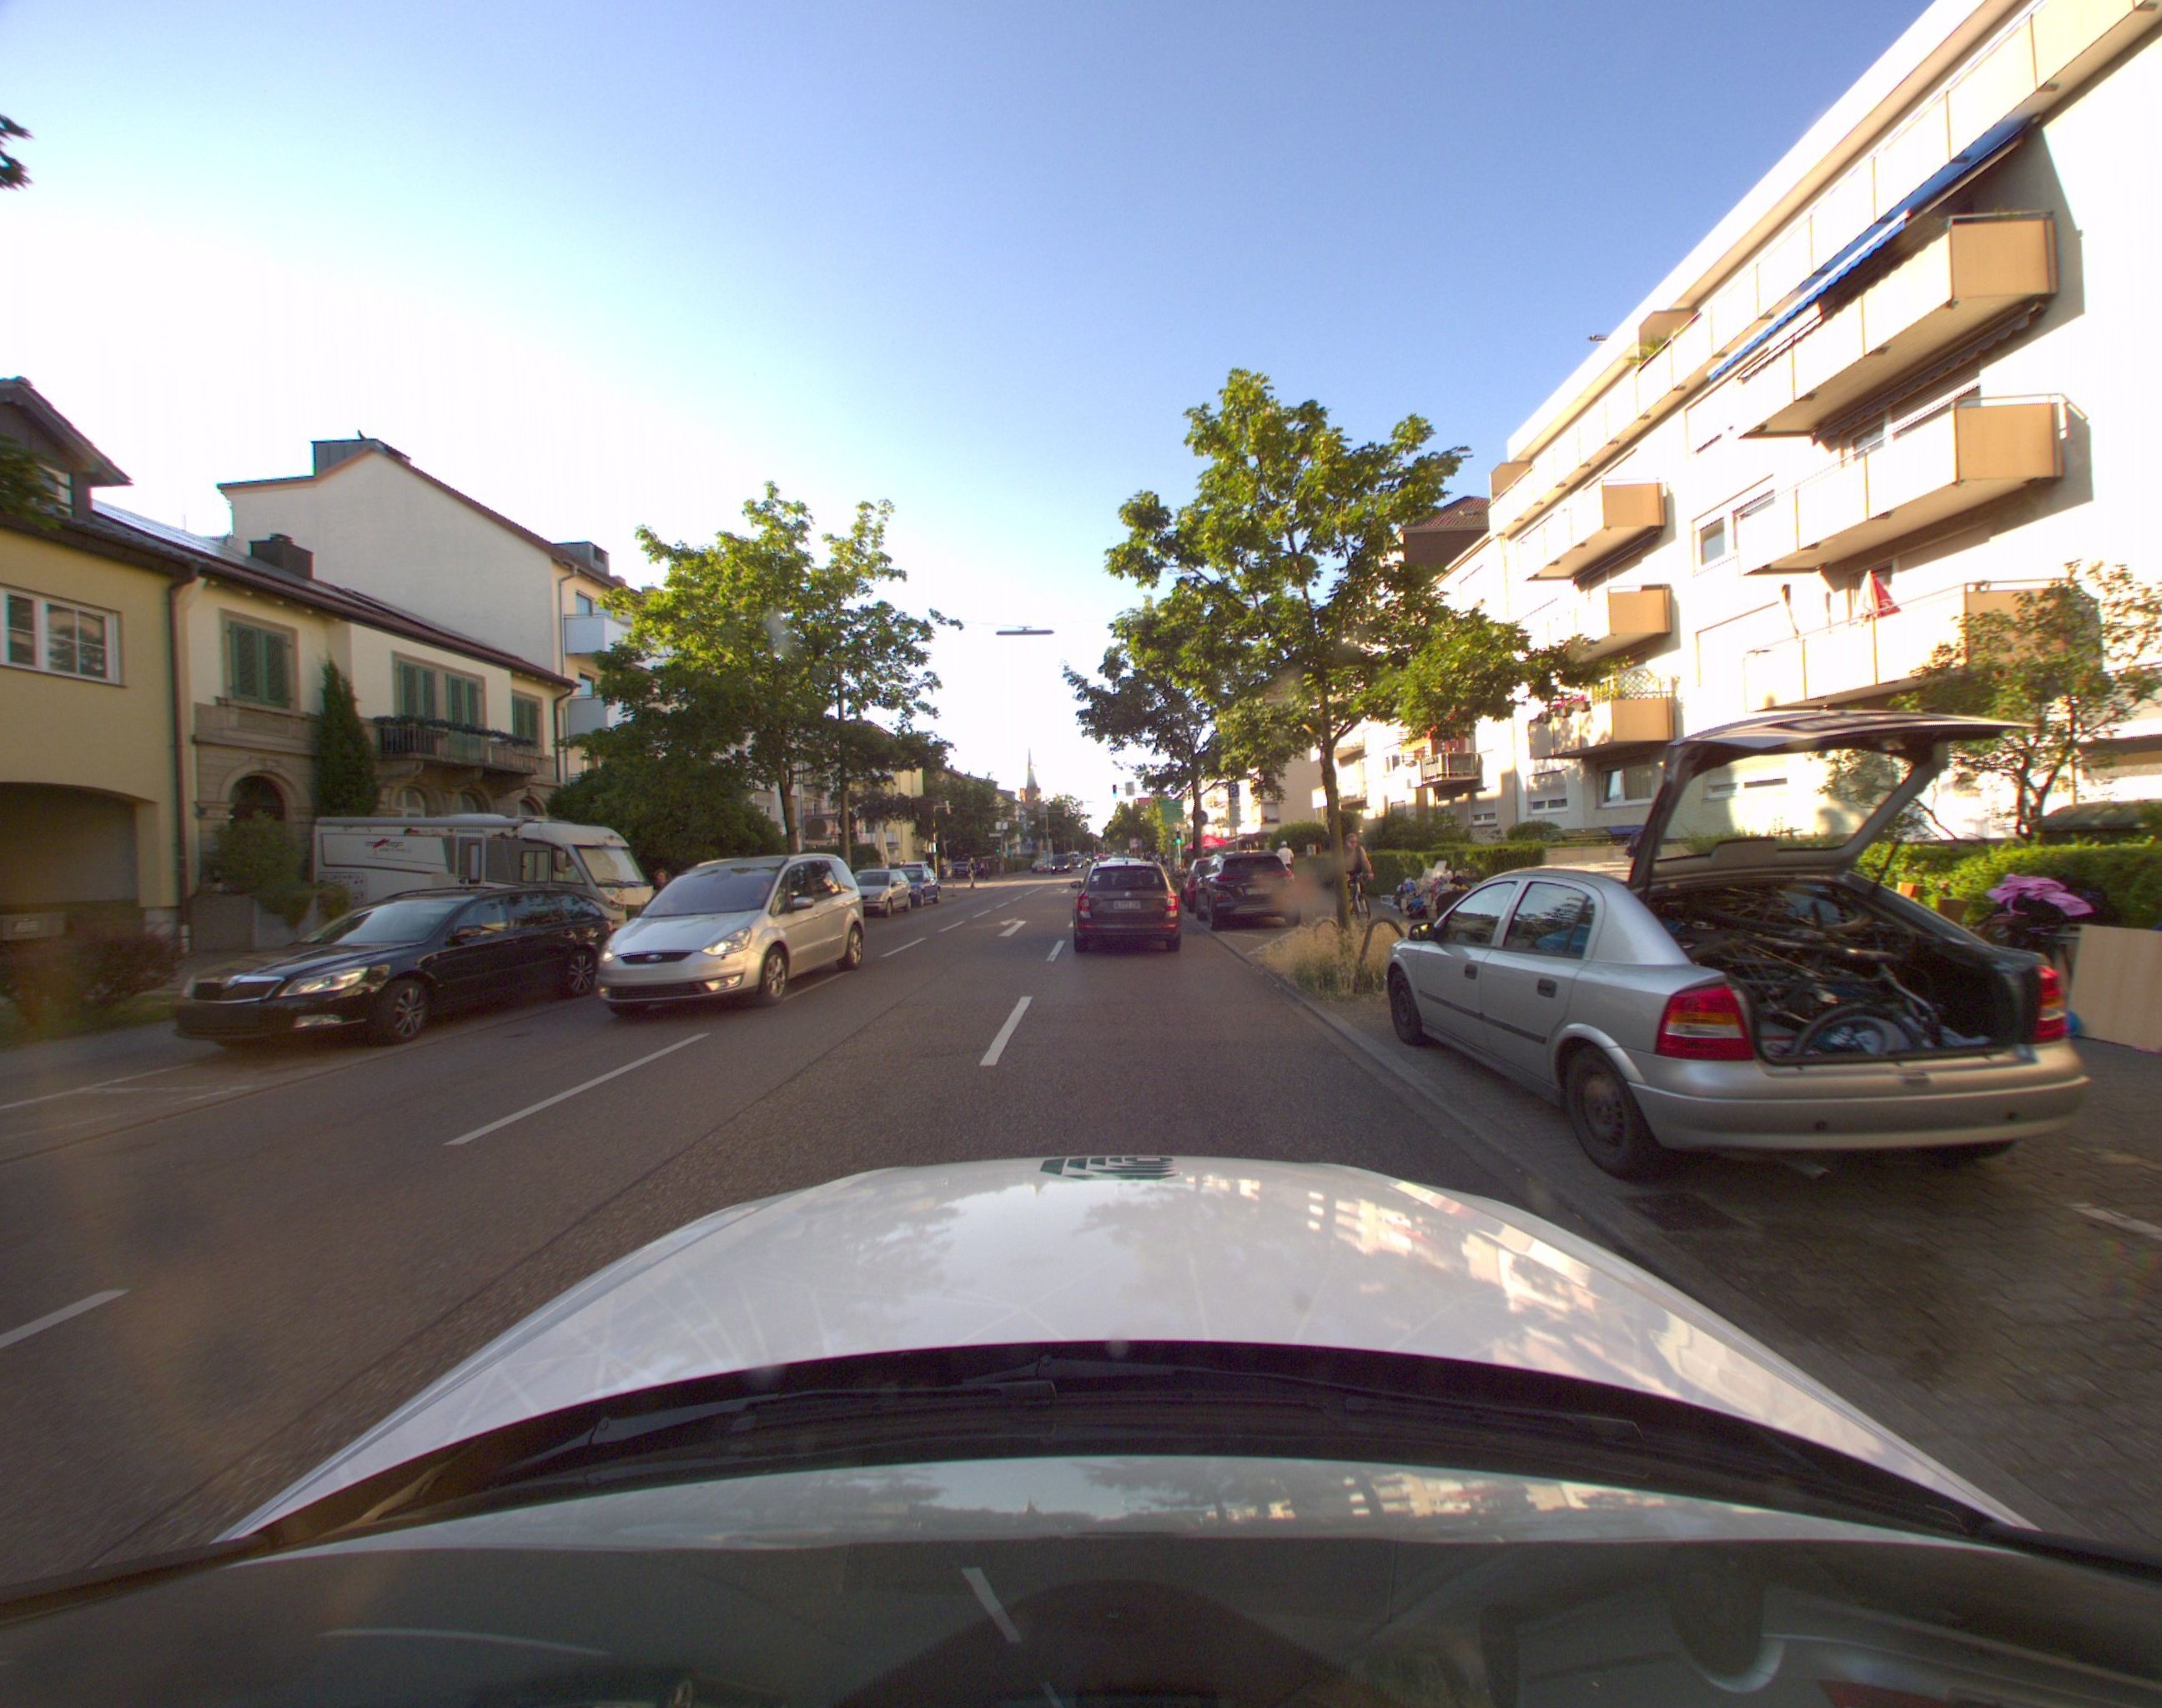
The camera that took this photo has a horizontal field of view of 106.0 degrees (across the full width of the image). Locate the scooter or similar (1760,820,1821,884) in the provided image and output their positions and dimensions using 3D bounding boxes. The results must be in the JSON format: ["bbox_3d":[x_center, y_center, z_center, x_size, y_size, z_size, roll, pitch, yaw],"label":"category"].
[{"bbox_3d":[14.606,-0.035,16.777,0.612,1.272,0.669,-3,0,2],"label":"scooter or similar"}]

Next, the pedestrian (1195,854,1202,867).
[{"bbox_3d":[11.261,0.628,78.157,0.497,1.302,0.507,-2,-1,-1],"label":"pedestrian"}]

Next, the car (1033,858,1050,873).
[{"bbox_3d":[-4.287,1.254,88.576,1.517,1.457,3.586,-2,0,2],"label":"car"}]

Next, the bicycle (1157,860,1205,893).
[{"bbox_3d":[4.034,0.911,32.762,1.824,1.157,0.685,-5,-1,8],"label":"bicycle"}]

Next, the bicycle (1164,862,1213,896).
[{"bbox_3d":[3.932,0.902,29.803,1.677,1.107,0.518,-5,-1,8],"label":"bicycle"}]

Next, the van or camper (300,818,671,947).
[{"bbox_3d":[-13.448,0.612,18.763,6.774,2.773,2.352,0,0,0],"label":"van or camper"}]

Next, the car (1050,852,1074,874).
[{"bbox_3d":[-1.870,0.866,80.227,1.986,1.908,4.965,-4,0,2],"label":"car"}]

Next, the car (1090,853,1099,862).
[{"bbox_3d":[3.343,0.921,204.698,1.986,2.013,4.002,-3,0,2],"label":"car"}]

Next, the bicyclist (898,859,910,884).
[{"bbox_3d":[-12.940,1.270,59.492,0.738,1.823,0.652,-2,0,-7],"label":"bicyclist"}]

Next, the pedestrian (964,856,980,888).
[{"bbox_3d":[-6.939,1.123,51.824,0.777,1.987,0.821,-3,-1,2],"label":"pedestrian"}]

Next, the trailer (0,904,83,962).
[{"bbox_3d":[-20.761,1.471,15.152,2.395,0.960,1.628,0,0,2],"label":"trailer"}]

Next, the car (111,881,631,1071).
[{"bbox_3d":[-7.414,1.133,9.320,1.860,1.494,4.519,-1,0,2],"label":"car"}]

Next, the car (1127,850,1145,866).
[{"bbox_3d":[6.267,0.492,92.581,1.984,1.772,4.005,0,0,5],"label":"car"}]

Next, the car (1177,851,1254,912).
[{"bbox_3d":[3.695,0.712,23.002,1.696,1.450,4.018,-4,0,4],"label":"car"}]

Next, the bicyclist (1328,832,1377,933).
[{"bbox_3d":[4.977,0.512,14.969,0.579,1.789,0.852,-2,0,2],"label":"bicyclist"}]

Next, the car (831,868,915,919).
[{"bbox_3d":[-6.618,1.217,26.305,1.587,1.470,3.805,0,0,2],"label":"car"}]

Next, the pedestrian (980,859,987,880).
[{"bbox_3d":[-8.371,1.338,69.937,0.447,1.797,0.504,-3,-1,2],"label":"pedestrian"}]

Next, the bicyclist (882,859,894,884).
[{"bbox_3d":[-14.246,1.283,60.125,0.738,1.823,0.652,-2,0,-7],"label":"bicyclist"}]

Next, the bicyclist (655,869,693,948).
[{"bbox_3d":[-8.785,1.165,17.576,0.467,1.663,0.552,-2,0,1],"label":"bicyclist"}]

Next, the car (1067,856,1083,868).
[{"bbox_3d":[-0.802,1.076,109.468,1.823,1.579,4.002,-3,0,2],"label":"car"}]

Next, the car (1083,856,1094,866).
[{"bbox_3d":[1.251,1.196,139.184,1.780,1.571,4.003,0,0,3],"label":"car"}]

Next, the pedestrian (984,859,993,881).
[{"bbox_3d":[-7.872,1.368,69.616,0.613,1.797,0.504,-3,-1,2],"label":"pedestrian"}]

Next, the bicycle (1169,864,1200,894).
[{"bbox_3d":[3.964,0.943,31.044,0.613,1.051,1.583,-3,0,28],"label":"bicycle"}]

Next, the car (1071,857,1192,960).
[{"bbox_3d":[0.805,0.810,14.193,1.766,1.489,4.312,-1,0,1],"label":"car"}]

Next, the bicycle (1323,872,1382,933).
[{"bbox_3d":[4.954,0.864,14.957,0.514,0.987,1.832,-2,0,2],"label":"bicycle"}]

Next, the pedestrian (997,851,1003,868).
[{"bbox_3d":[-7.047,0.467,70.915,0.299,1.504,0.641,-2,-1,3],"label":"pedestrian"}]

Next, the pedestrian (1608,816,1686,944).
[{"bbox_3d":[7.586,0.336,10.915,0.748,1.640,0.700,-3,-1,38],"label":"pedestrian"}]

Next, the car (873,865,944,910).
[{"bbox_3d":[-6.448,1.206,30.836,1.642,1.517,4.076,-1,0,2],"label":"car"}]

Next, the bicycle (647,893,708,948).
[{"bbox_3d":[-8.762,1.414,17.732,0.484,1.064,1.534,-2,0,1],"label":"bicycle"}]

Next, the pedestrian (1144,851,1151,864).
[{"bbox_3d":[9.383,0.493,114.361,0.668,1.704,0.806,-3,-1,28],"label":"pedestrian"}]

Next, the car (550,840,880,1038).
[{"bbox_3d":[-4.165,0.837,10.318,1.799,1.804,4.747,-4,0,2],"label":"car"}]

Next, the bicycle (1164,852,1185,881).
[{"bbox_3d":[4.004,0.541,34.993,0.501,1.147,1.956,-5,-1,-4],"label":"bicycle"}]

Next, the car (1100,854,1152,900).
[{"bbox_3d":[1.626,0.789,29.580,1.730,1.571,4.003,0,0,3],"label":"car"}]

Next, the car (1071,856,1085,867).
[{"bbox_3d":[-0.423,1.167,126.584,1.985,1.610,4.003,-2,0,3],"label":"car"}]

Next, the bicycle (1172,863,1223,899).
[{"bbox_3d":[3.767,0.873,26.359,1.564,1.104,0.392,-2,-1,2],"label":"bicycle"}]

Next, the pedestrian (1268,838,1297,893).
[{"bbox_3d":[6.586,0.369,26.649,0.660,1.749,0.773,-4,-1,2],"label":"pedestrian"}]

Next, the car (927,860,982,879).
[{"bbox_3d":[-11.266,1.389,72.701,4.617,1.535,1.862,-1,0,1],"label":"car"}]

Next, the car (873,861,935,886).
[{"bbox_3d":[-14.508,1.614,66.889,4.617,1.812,1.862,-2,0,1],"label":"car"}]

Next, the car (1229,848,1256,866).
[{"bbox_3d":[14.337,0.288,72.531,1.769,1.486,4.003,-2,0,3],"label":"car"}]

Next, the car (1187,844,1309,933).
[{"bbox_3d":[3.483,0.672,17.749,1.849,1.581,4.015,-4,0,2],"label":"car"}]

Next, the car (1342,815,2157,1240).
[{"bbox_3d":[3.198,0.660,5.206,1.702,1.480,4.270,-4,0,2],"label":"car"}]

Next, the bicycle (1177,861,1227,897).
[{"bbox_3d":[4.007,0.827,26.958,1.564,1.104,0.502,-2,0,2],"label":"bicycle"}]
